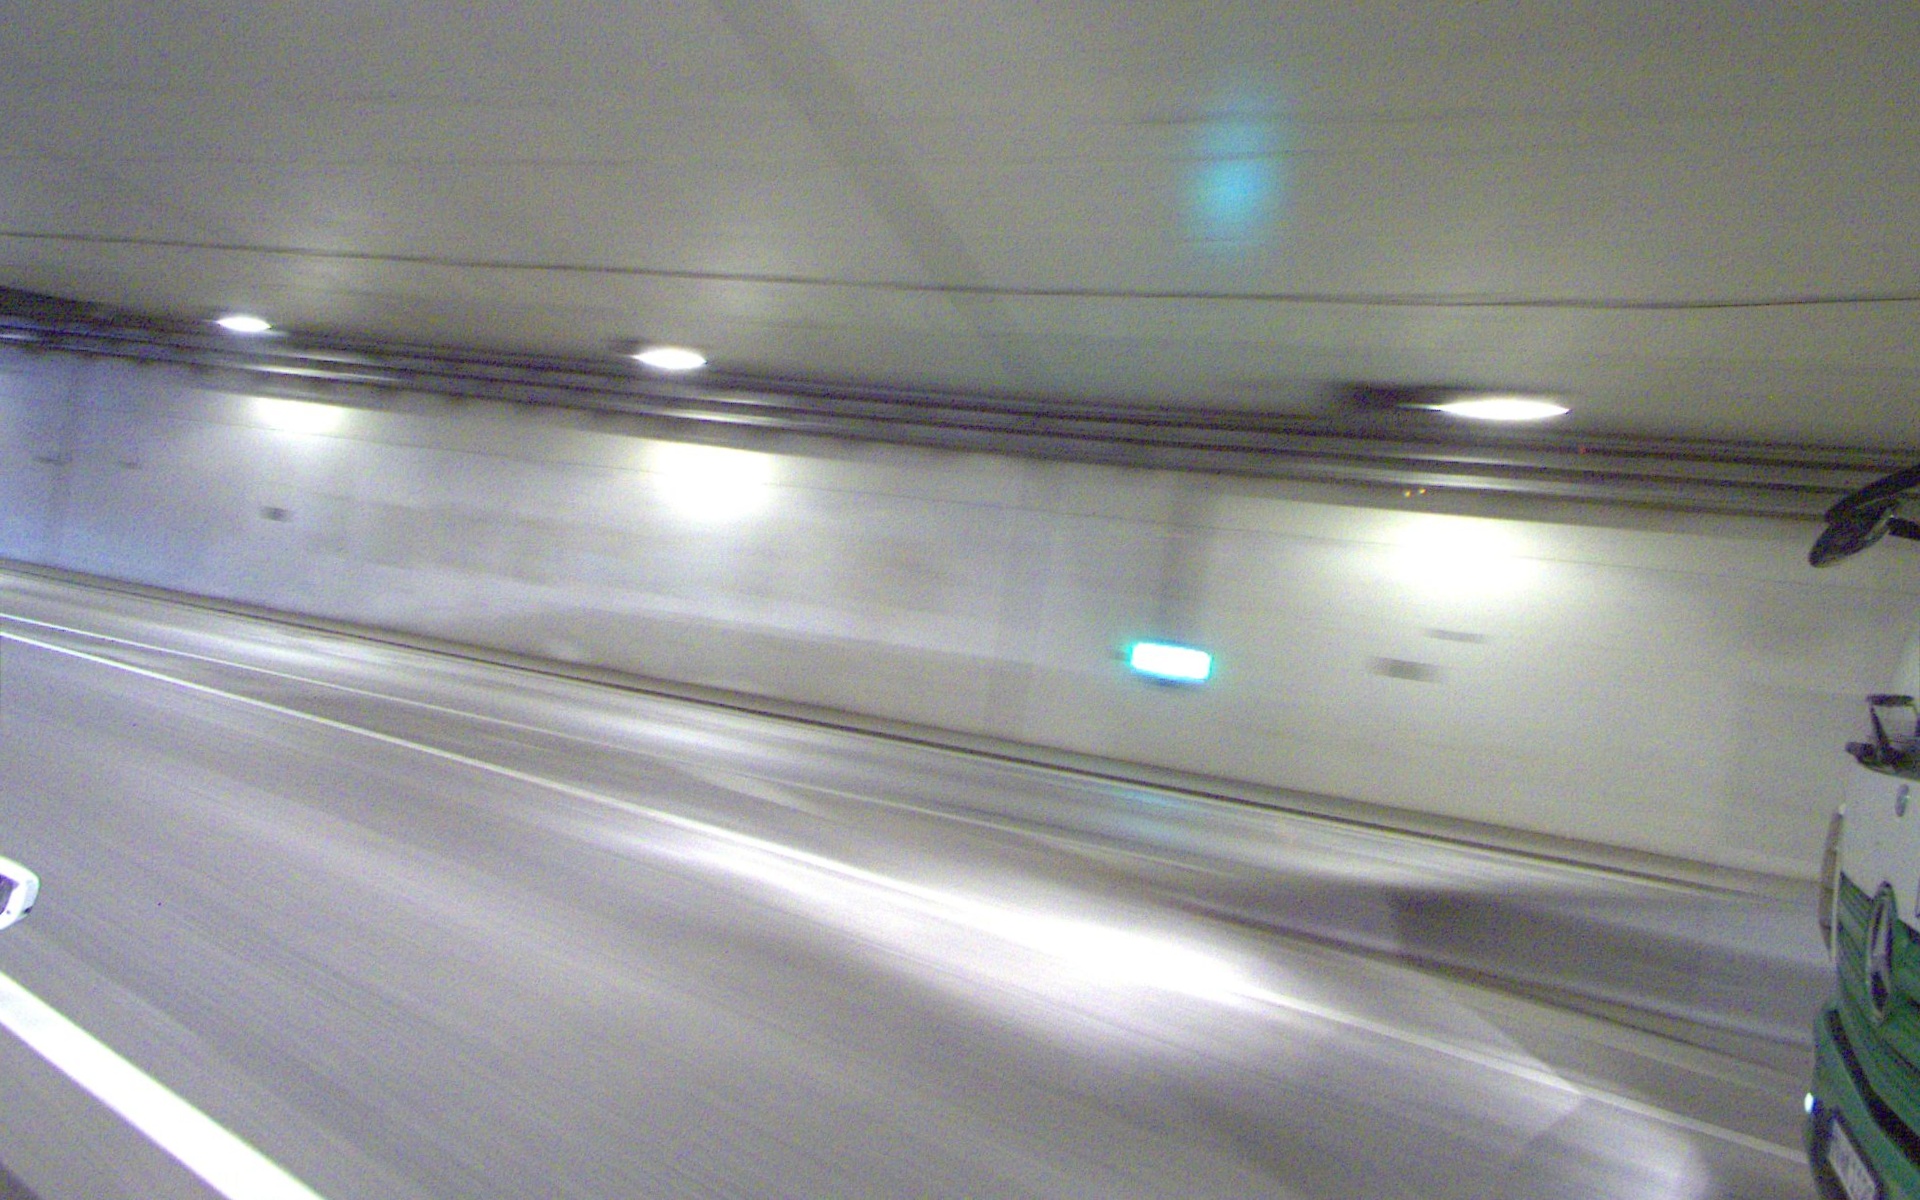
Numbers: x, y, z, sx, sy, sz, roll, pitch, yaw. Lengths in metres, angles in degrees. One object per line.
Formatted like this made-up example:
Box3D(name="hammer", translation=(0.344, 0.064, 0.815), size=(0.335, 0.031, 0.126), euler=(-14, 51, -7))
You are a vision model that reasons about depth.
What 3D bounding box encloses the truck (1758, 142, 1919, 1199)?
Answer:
Box3D(name="truck", translation=(5.159, 0.569, 0.362), size=(7.128, 3.218, 2.557), euler=(6, -1, 33))
